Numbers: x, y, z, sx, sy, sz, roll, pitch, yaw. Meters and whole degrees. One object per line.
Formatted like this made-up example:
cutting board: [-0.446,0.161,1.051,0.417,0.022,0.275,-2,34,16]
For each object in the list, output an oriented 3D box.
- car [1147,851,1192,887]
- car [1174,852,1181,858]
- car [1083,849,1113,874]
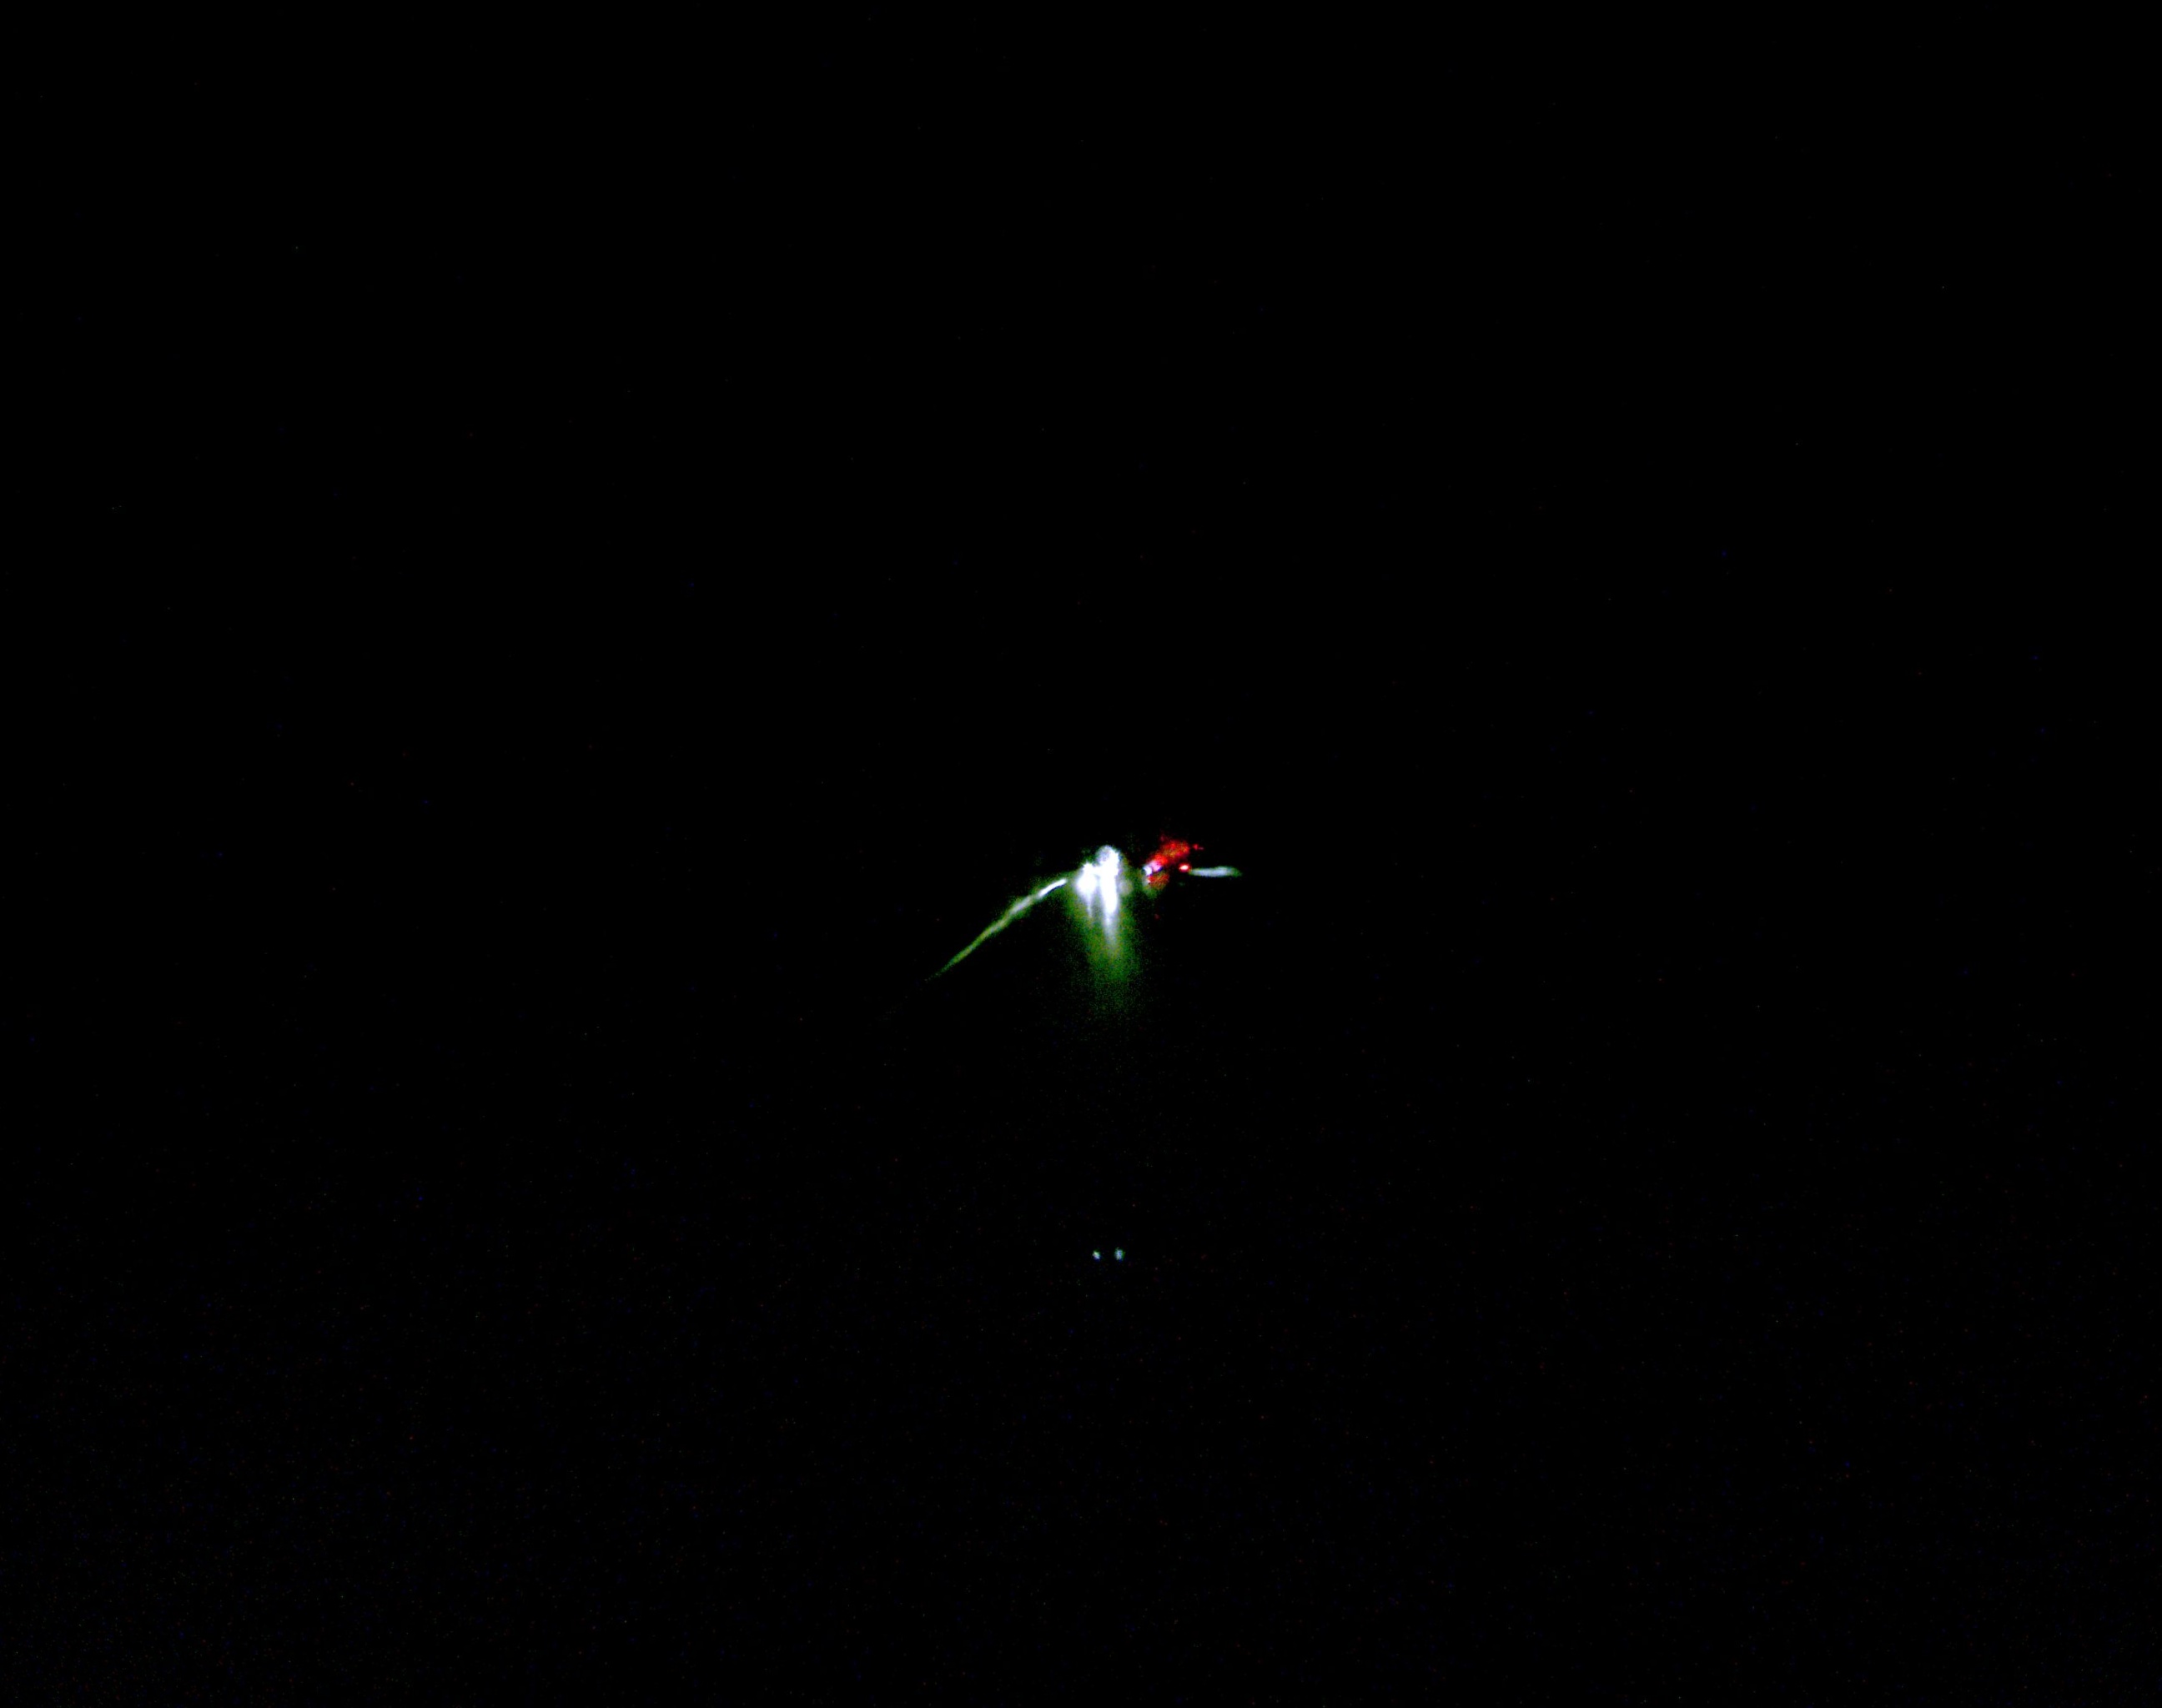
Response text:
car: [4.222,0.683,36.823,1.726,1.603,4.002,-2,0,1]
car: [27.427,0.348,215.501,1.834,1.545,4.444,-3,0,8]
car: [1.297,0.551,57.062,1.998,1.804,4.001,-2,0,4]
